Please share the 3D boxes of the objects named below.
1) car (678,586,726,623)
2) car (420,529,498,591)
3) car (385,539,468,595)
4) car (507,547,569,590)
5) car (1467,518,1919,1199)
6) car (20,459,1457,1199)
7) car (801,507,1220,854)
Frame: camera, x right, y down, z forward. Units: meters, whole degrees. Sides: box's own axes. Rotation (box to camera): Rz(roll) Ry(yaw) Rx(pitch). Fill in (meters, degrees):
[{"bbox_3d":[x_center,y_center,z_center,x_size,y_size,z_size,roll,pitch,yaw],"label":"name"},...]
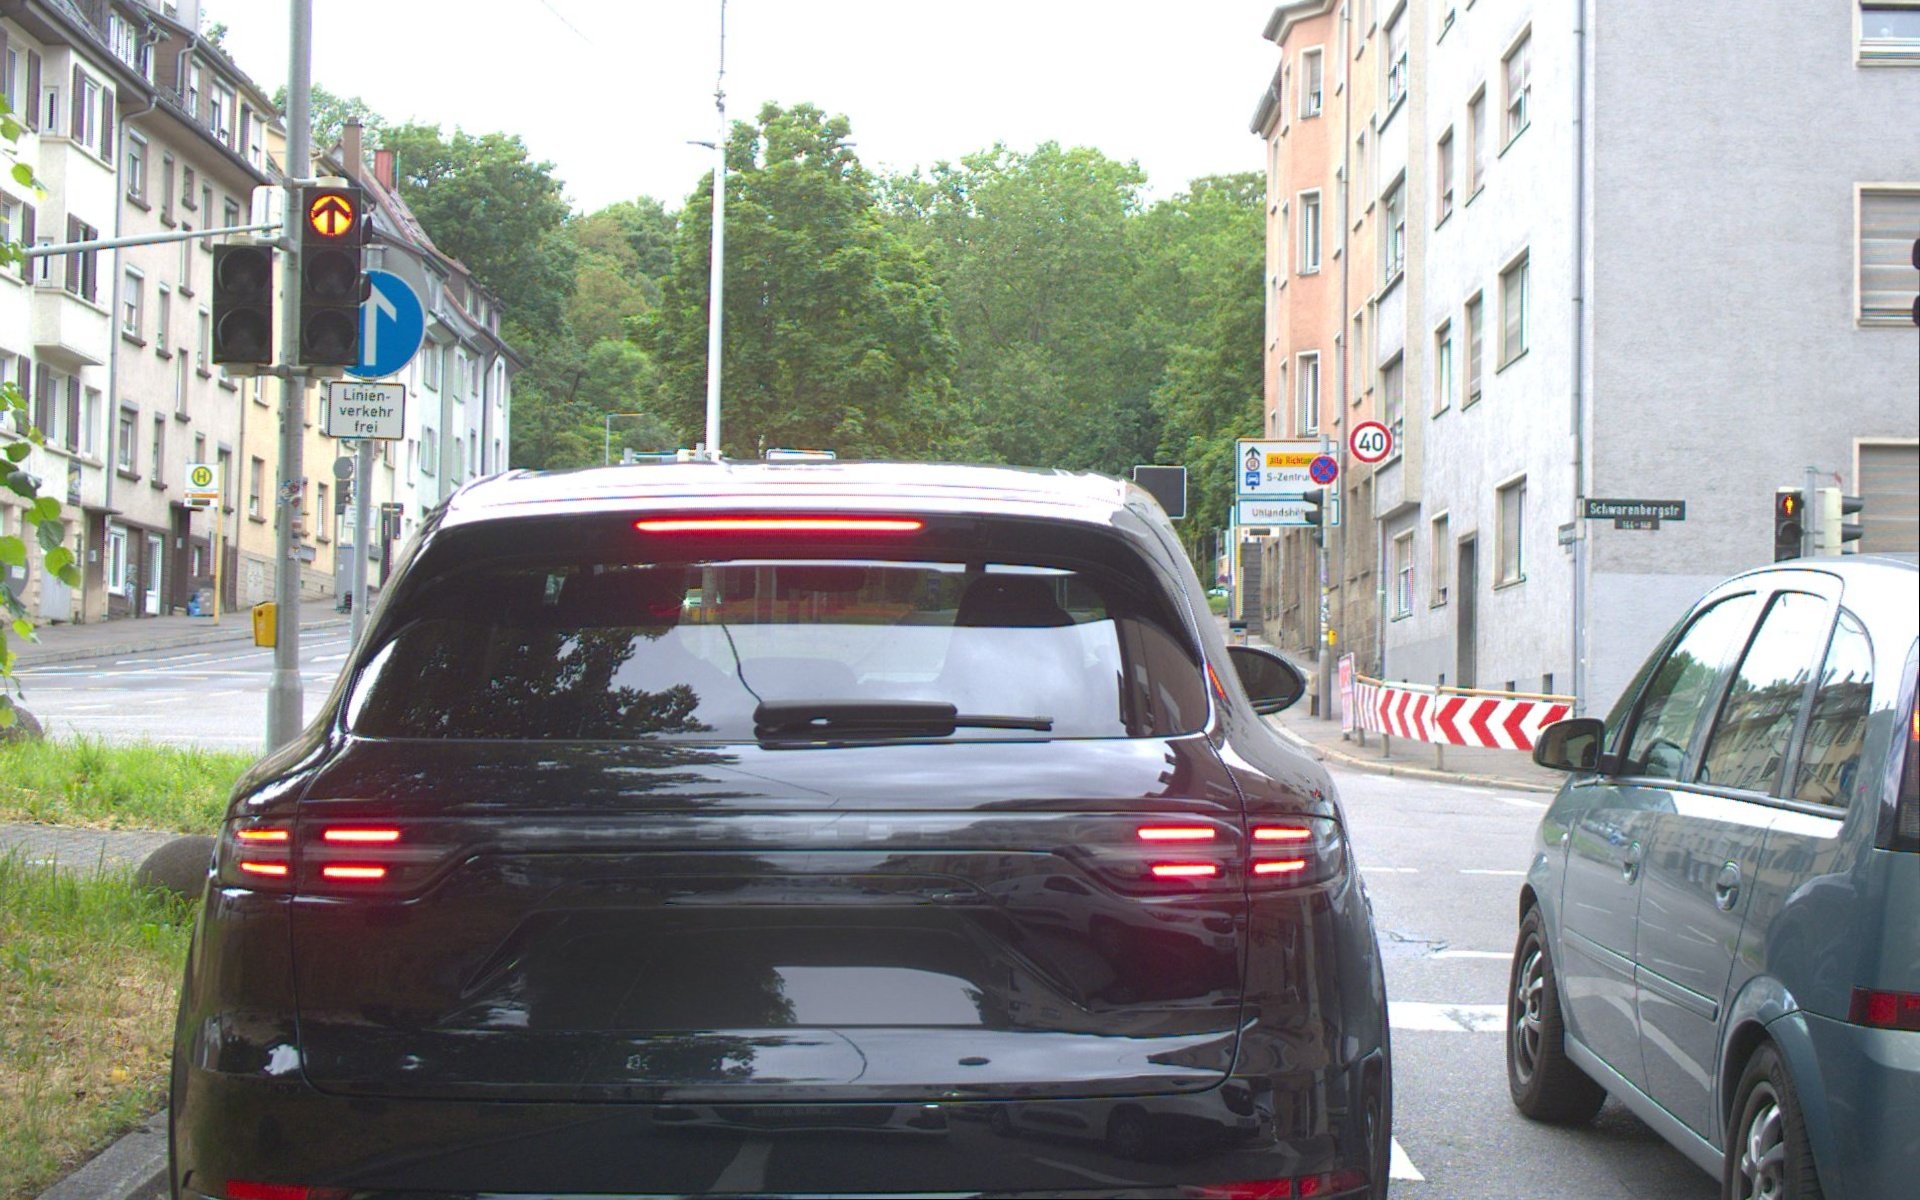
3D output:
[{"bbox_3d":[-11.023,0.202,146.938,1.794,1.505,4.000,1,-1,-1],"label":"car"},{"bbox_3d":[-15.064,-1.219,103.622,1.794,1.804,4.000,1,1,-1],"label":"car"},{"bbox_3d":[-15.268,-0.964,98.601,1.794,1.505,4.000,1,1,-1],"label":"car"},{"bbox_3d":[-15.312,-1.159,125.012,1.794,1.505,4.000,1,1,-1],"label":"car"},{"bbox_3d":[2.402,0.690,7.870,1.752,1.588,3.631,4,1,-1],"label":"car"},{"bbox_3d":[-0.273,0.584,6.778,1.994,1.647,4.000,0,1,1],"label":"car"},{"bbox_3d":[0.283,0.373,18.407,1.994,1.647,4.000,0,0,1],"label":"car"}]
